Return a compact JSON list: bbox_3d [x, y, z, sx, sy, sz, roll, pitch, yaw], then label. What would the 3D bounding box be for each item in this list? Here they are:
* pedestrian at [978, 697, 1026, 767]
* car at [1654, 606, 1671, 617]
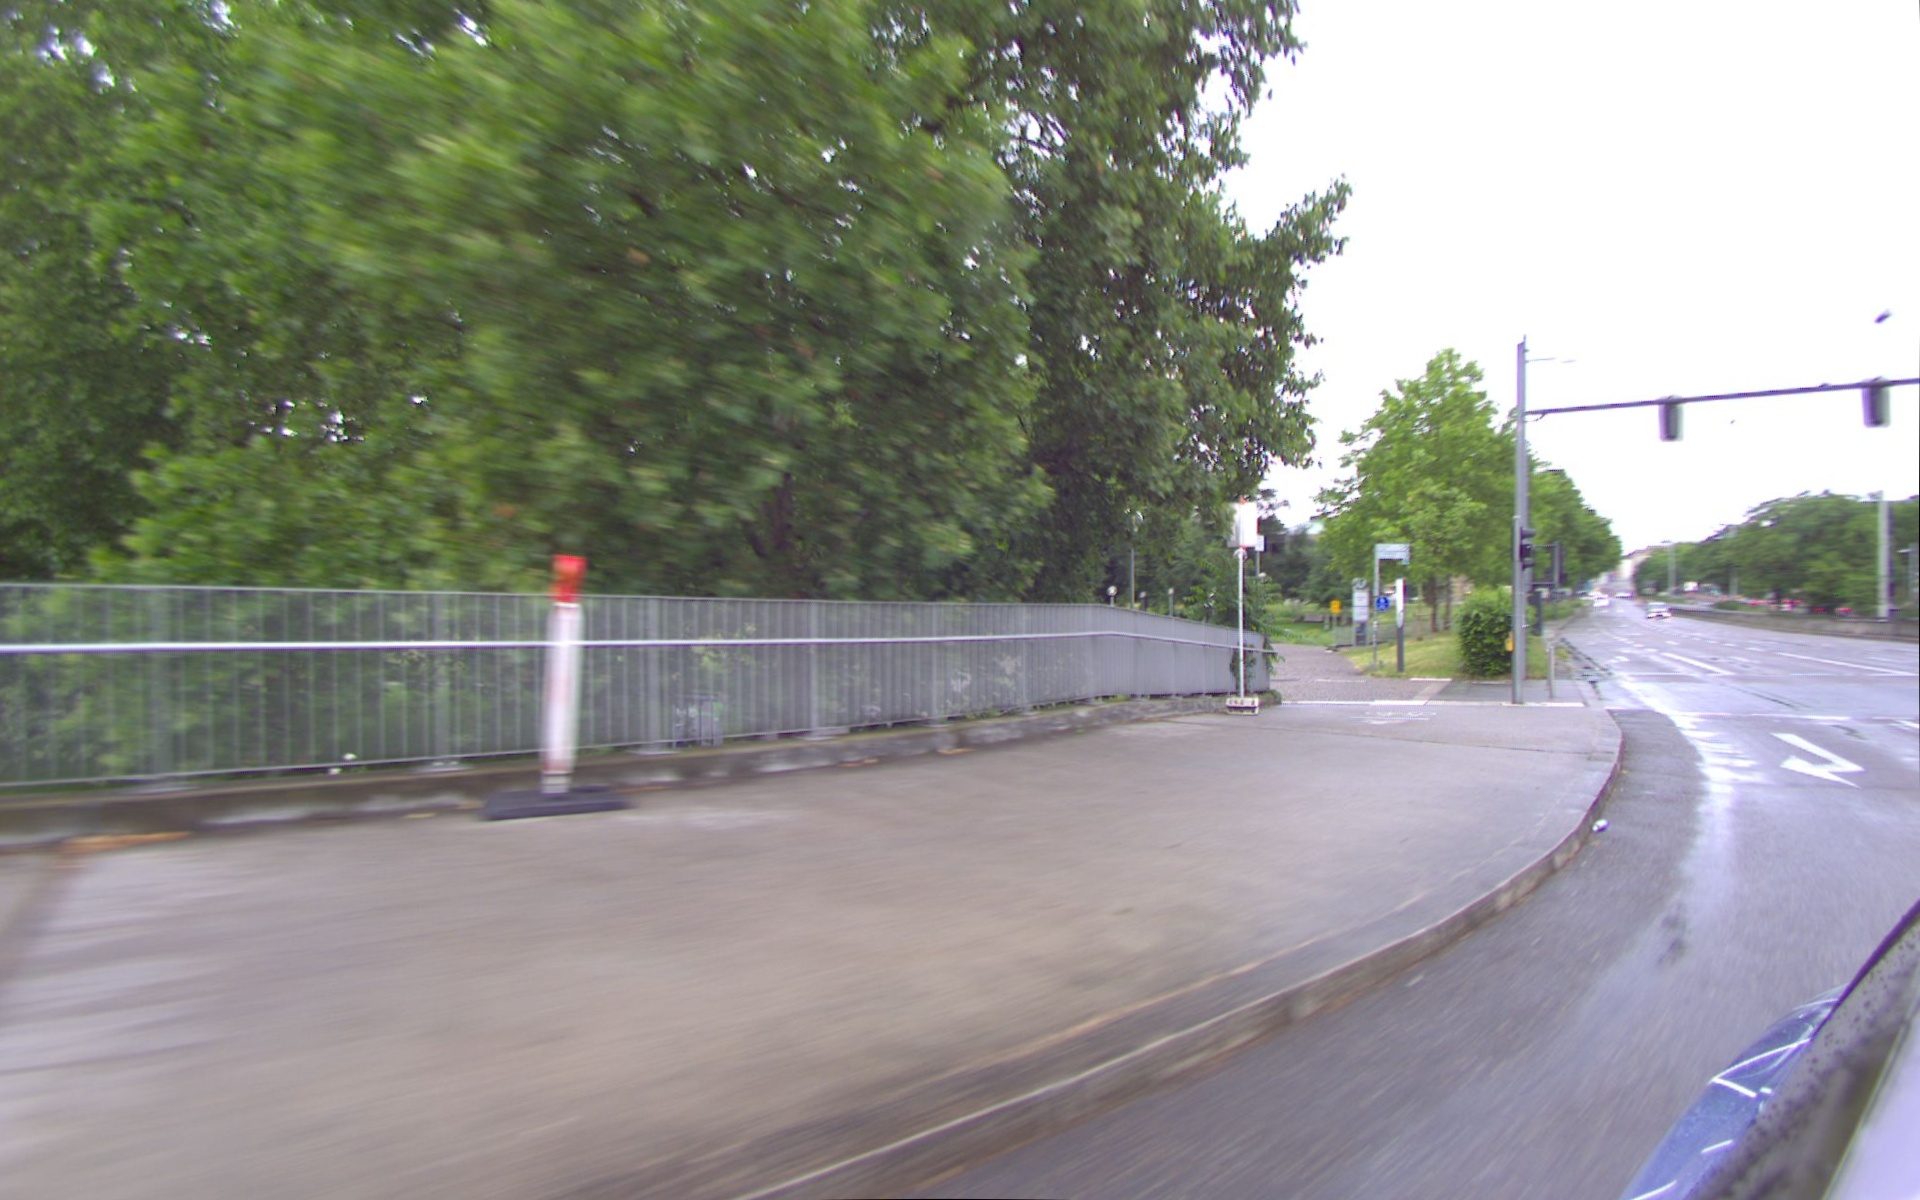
[{"bbox_3d":[1.238,3.853,29.735,0.942,1.875,1.014,-2,0,36],"label":"pedestrian"},{"bbox_3d":[79.027,1.288,113.814,1.509,1.159,2.727,-2,0,35],"label":"car"}]
